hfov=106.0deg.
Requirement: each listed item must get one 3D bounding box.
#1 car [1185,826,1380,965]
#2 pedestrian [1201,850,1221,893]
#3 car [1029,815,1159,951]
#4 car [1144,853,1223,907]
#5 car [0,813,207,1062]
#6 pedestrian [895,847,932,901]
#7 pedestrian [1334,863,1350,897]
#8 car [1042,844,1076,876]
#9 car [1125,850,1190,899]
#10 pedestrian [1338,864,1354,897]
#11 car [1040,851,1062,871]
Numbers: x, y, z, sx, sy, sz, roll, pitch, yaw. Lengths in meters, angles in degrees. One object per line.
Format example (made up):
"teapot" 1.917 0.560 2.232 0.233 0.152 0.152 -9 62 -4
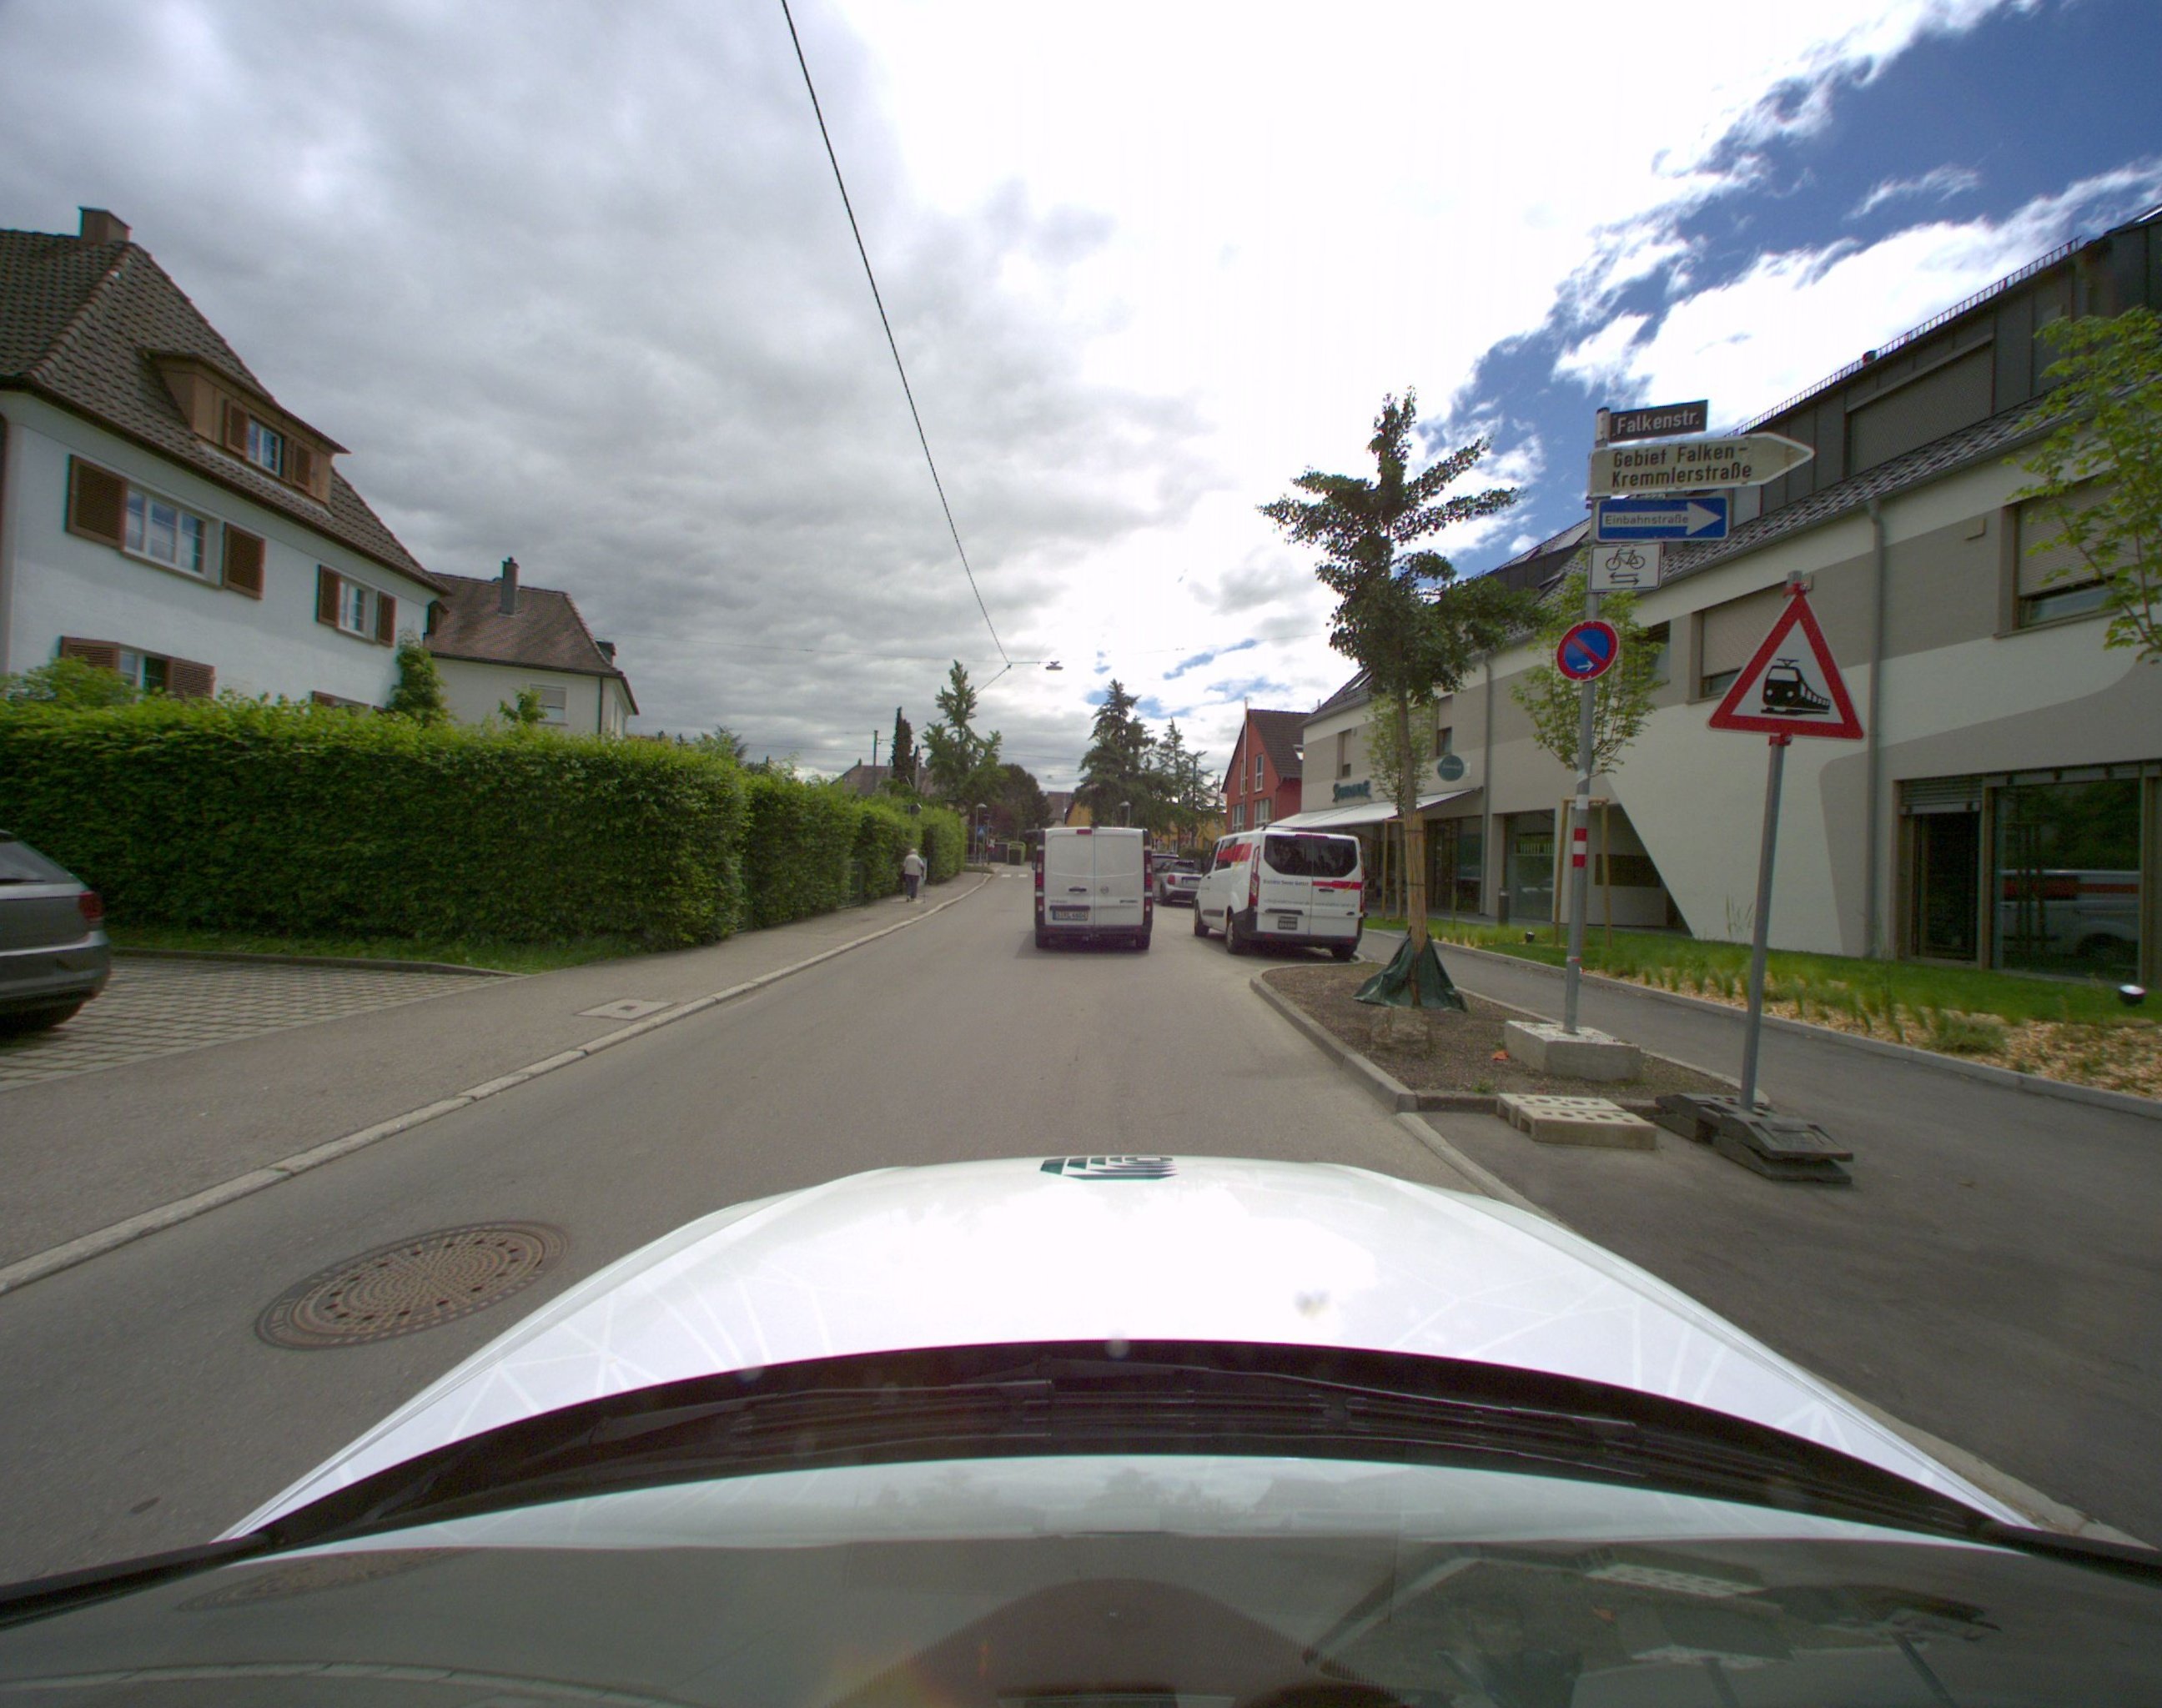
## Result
"car" 3.254 0.640 14.313 1.953 1.916 4.897 4 -1 -2
"pedestrian" 4.952 0.669 31.075 0.588 1.607 0.529 4 -1 0
"car" 0.147 0.456 14.425 1.910 2.003 4.435 1 -1 -1
"car" 3.186 0.796 26.061 1.738 1.494 3.649 4 -1 -4
"car" -8.128 0.386 4.895 3.659 1.434 1.817 4 -1 0
"pedestrian" -4.739 0.564 23.071 0.879 1.485 0.452 4 -1 -21
"pedestrian" 9.320 0.921 29.094 0.420 1.182 0.324 2 -1 -4
"car" -1.319 0.365 49.839 1.988 1.848 3.997 1 -1 -1
"car" 2.804 0.735 30.811 1.699 1.614 4.252 4 0 -4
"pedestrian" 9.342 0.925 28.754 0.420 1.165 0.324 2 -1 -4
"car" -2.773 0.631 75.543 1.988 1.782 3.997 1 -1 -1
